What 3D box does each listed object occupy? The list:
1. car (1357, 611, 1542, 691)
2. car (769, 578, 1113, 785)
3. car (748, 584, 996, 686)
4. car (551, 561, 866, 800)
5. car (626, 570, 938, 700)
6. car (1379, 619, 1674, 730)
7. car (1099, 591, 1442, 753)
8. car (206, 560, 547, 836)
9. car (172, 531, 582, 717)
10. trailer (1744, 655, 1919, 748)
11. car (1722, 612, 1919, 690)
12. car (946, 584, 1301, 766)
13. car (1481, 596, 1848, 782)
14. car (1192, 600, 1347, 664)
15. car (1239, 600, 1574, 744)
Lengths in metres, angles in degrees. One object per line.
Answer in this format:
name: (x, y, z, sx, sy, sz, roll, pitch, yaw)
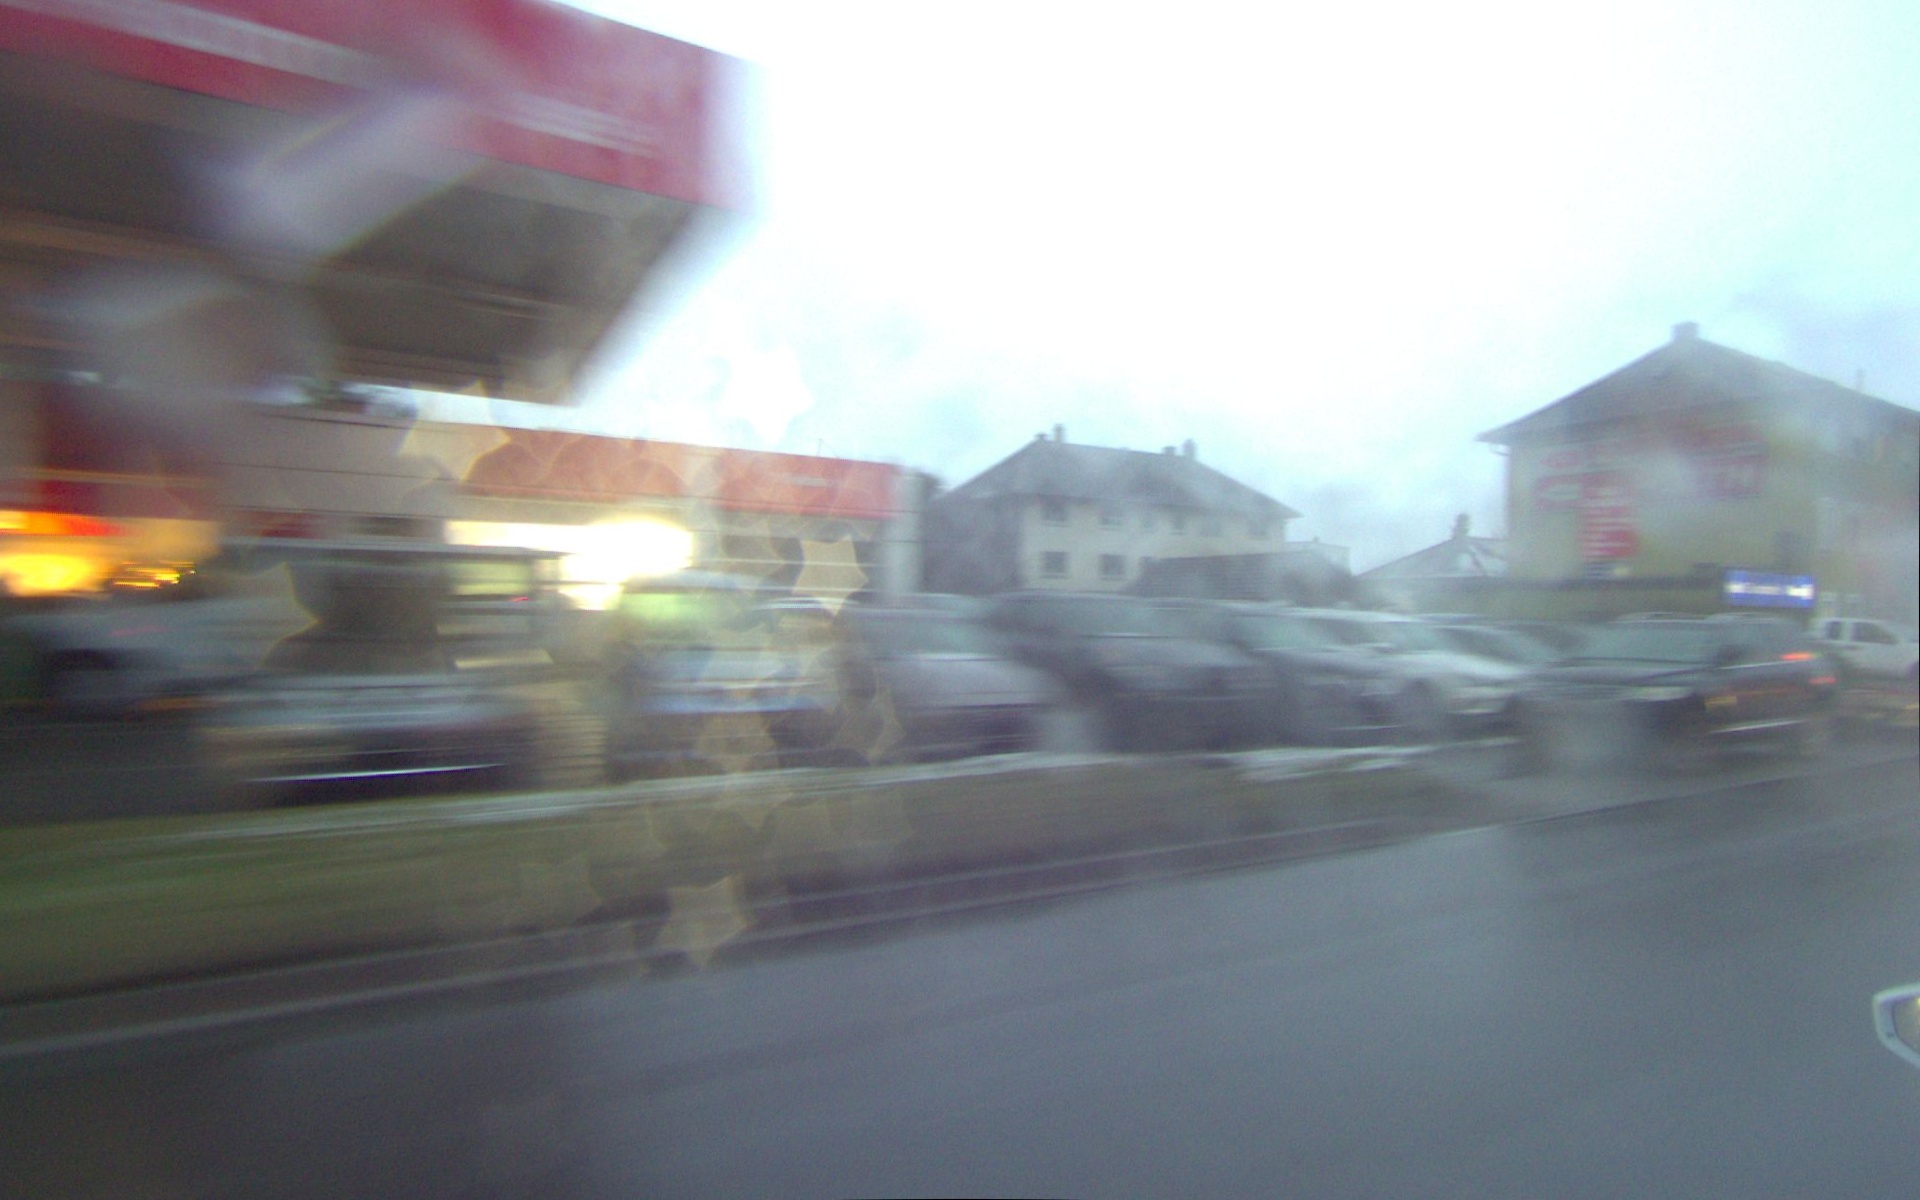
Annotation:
car: (11.154, 1.118, 22.854, 3.955, 1.646, 1.983, 1, -1, -31)
car: (-0.448, 0.690, 11.095, 1.976, 1.685, 4.256, 1, 2, -30)
car: (-1.643, 0.618, 18.995, 4.241, 1.685, 1.928, 1, 2, -31)
car: (-2.736, 0.568, 10.071, 1.976, 1.787, 4.256, 1, 2, -30)
car: (-2.660, 0.473, 15.230, 4.241, 1.685, 1.928, 1, 2, -31)
car: (9.044, 1.109, 16.371, 1.699, 1.447, 3.876, 1, 0, -29)
car: (4.012, 0.822, 13.759, 1.976, 1.685, 4.256, 1, 2, -30)
car: (-4.914, 0.563, 8.649, 1.976, 1.685, 4.256, 1, 2, -30)
car: (-6.801, 0.286, 12.075, 3.955, 1.894, 1.876, 1, -1, -31)
trailer: (14.480, 1.437, 15.290, 6.033, 1.052, 1.984, 1, -1, -31)
car: (22.904, 1.248, 25.654, 1.975, 1.814, 5.168, 1, -1, -28)
car: (1.787, 0.741, 12.437, 2.111, 1.685, 4.256, 1, 2, -30)
car: (8.502, 0.935, 12.042, 4.460, 1.855, 1.961, 1, -1, -31)
car: (8.546, 0.862, 27.678, 3.955, 1.646, 1.983, 1, -1, -31)
car: (6.519, 0.938, 15.184, 1.976, 1.649, 4.256, 1, 2, -30)
